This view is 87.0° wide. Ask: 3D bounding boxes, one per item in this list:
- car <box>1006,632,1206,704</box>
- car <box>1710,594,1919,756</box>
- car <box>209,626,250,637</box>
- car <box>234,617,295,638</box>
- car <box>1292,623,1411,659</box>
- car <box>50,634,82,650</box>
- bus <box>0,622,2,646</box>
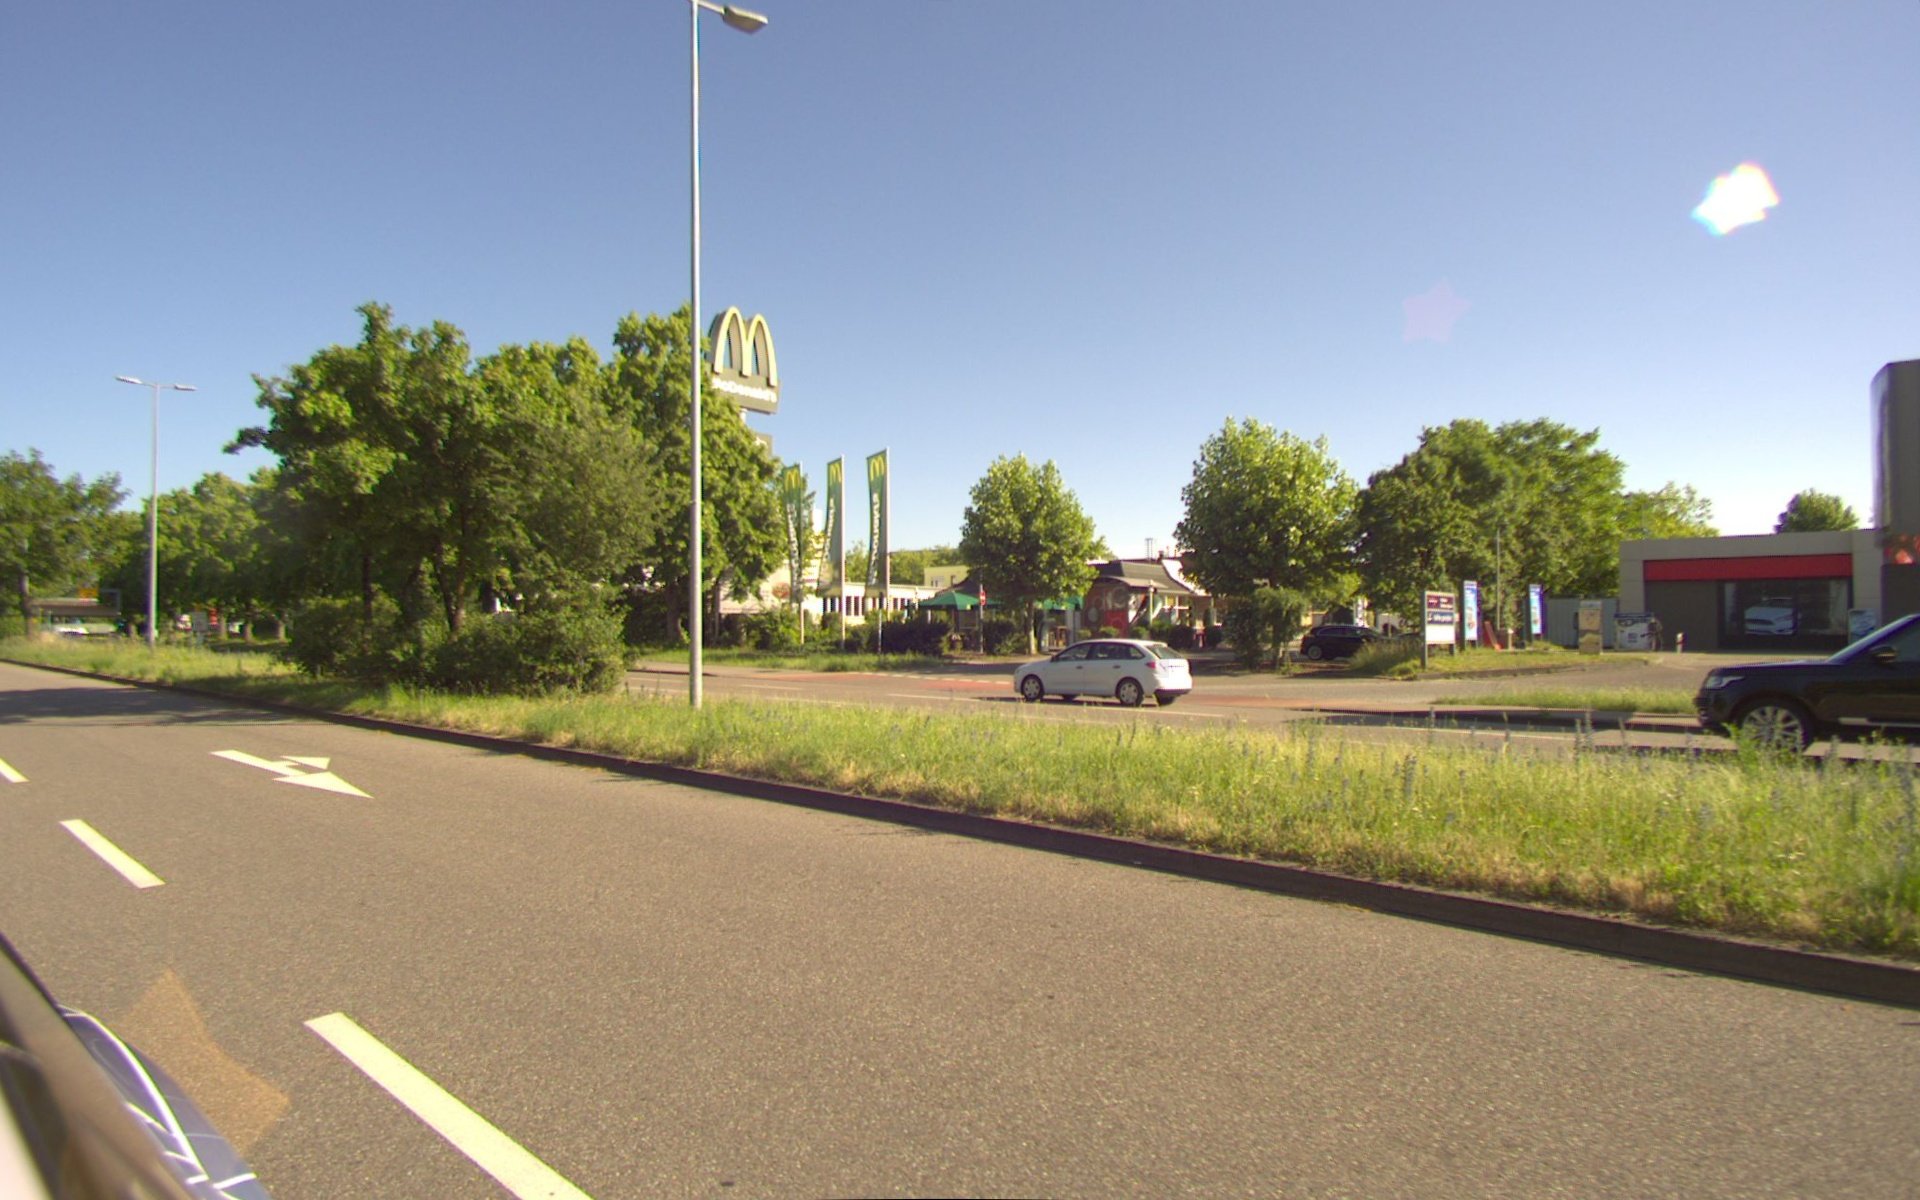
[{"bbox_3d":[3.219,1.477,22.788,4.207,1.466,1.721,-2,-4,41],"label":"car"},{"bbox_3d":[11.670,0.887,11.702,4.670,1.816,1.721,-2,-5,42],"label":"car"},{"bbox_3d":[-96.352,4.142,133.510,1.944,1.399,4.079,-2,-3,38],"label":"car"},{"bbox_3d":[-86.274,3.422,125.574,2.203,2.452,5.821,-2,-3,37],"label":"car"},{"bbox_3d":[15.085,1.555,39.120,3.929,1.320,1.769,-2,-2,41],"label":"car"},{"bbox_3d":[-85.021,4.011,96.238,4.527,1.532,1.737,-2,-5,42],"label":"car"},{"bbox_3d":[-113.044,3.909,116.655,11.081,2.742,2.692,-2,-5,41],"label":"bus"}]
